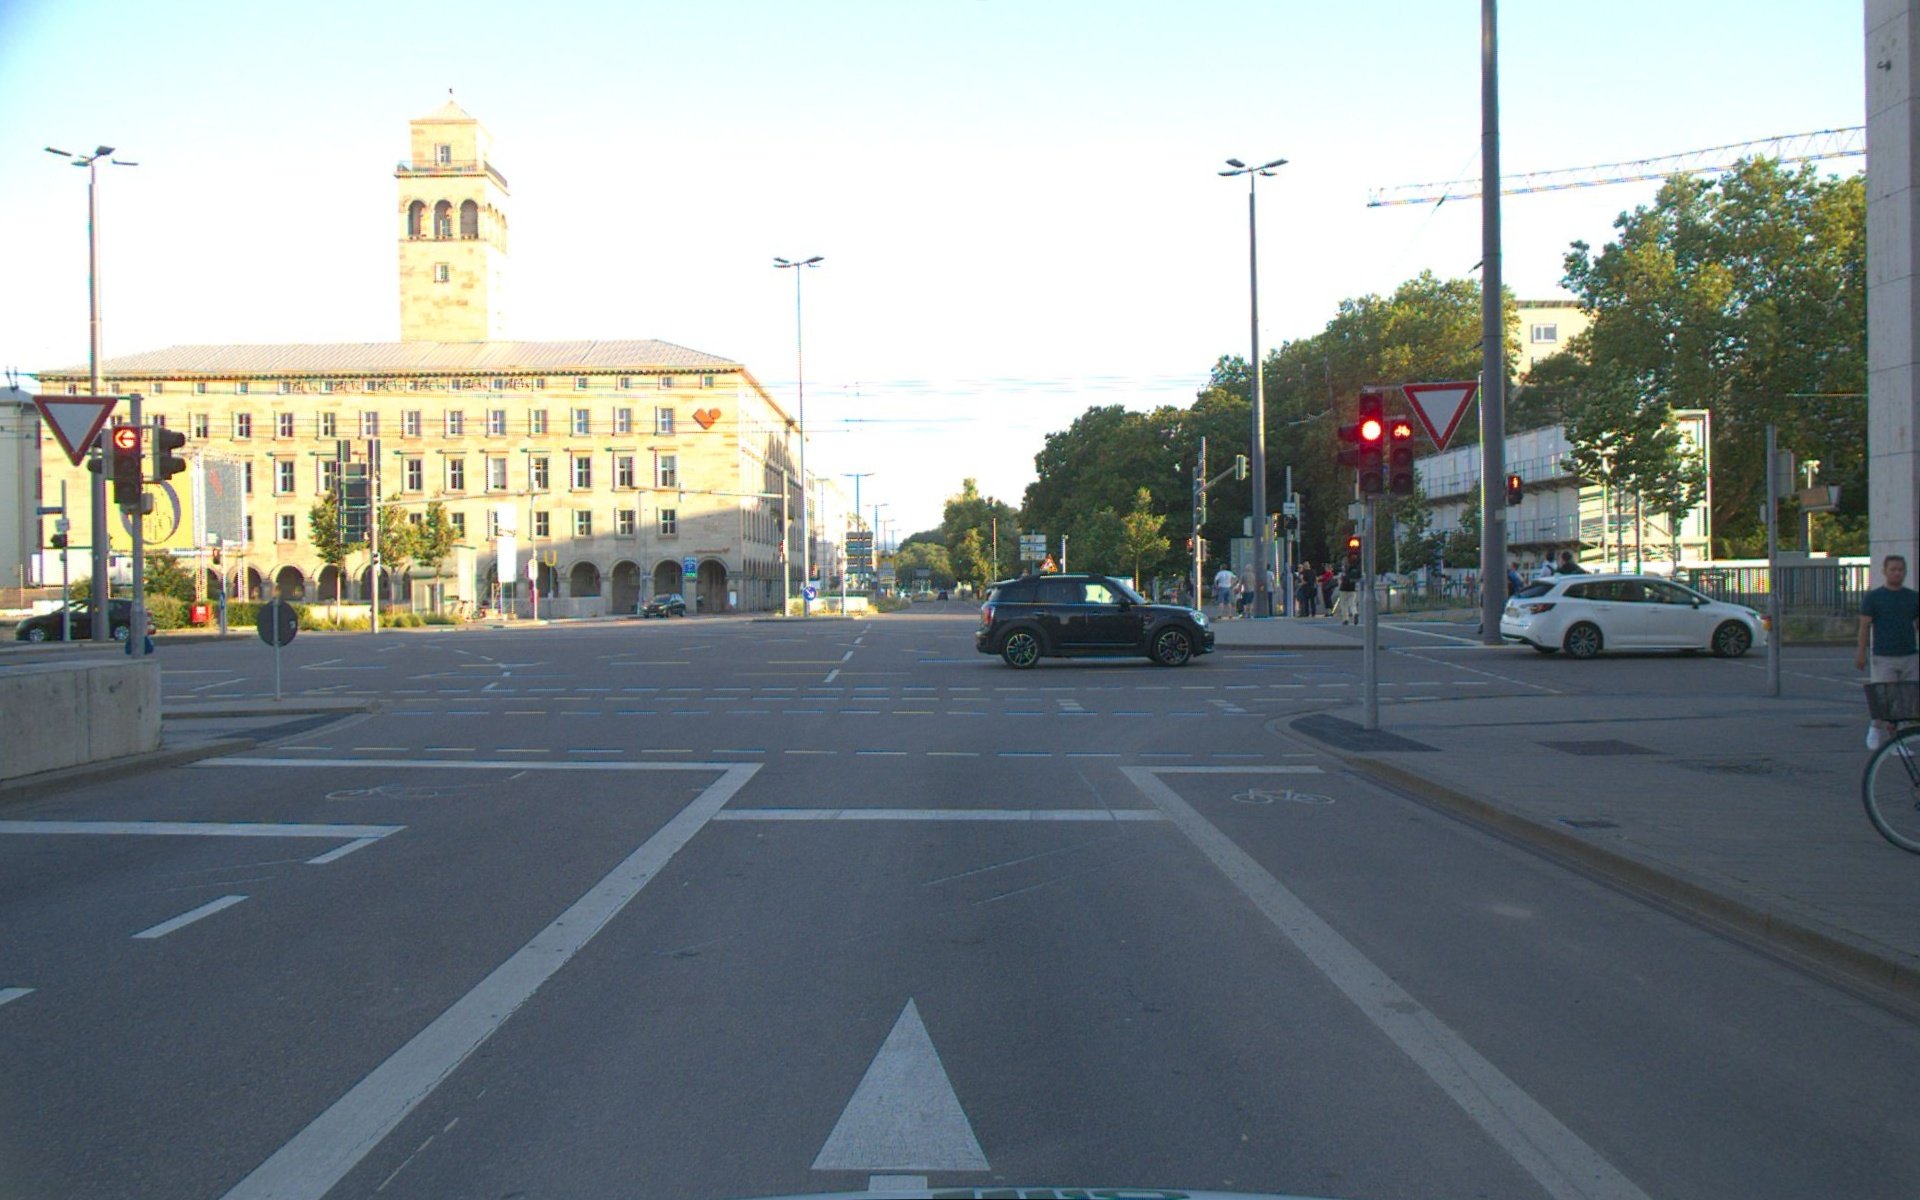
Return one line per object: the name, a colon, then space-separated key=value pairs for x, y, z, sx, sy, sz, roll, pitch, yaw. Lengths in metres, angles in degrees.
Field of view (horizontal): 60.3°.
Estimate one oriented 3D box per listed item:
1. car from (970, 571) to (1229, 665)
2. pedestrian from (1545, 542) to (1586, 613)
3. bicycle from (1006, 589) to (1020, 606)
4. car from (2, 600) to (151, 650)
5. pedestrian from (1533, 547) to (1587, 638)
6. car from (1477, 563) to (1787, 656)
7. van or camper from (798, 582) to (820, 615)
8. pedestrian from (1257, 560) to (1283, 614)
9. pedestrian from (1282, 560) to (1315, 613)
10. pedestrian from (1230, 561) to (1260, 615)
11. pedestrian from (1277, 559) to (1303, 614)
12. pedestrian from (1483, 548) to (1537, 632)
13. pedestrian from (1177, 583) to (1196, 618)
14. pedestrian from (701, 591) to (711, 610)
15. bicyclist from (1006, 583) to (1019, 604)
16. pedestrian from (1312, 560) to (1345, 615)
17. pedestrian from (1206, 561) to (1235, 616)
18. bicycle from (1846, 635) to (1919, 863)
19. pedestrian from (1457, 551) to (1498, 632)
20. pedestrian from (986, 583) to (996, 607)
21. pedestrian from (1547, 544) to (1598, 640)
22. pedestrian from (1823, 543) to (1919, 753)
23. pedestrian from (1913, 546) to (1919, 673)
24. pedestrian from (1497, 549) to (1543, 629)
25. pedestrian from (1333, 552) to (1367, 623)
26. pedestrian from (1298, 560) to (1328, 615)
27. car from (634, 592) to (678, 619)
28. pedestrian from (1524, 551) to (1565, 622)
car: x=2.401 y=0.285 z=29.391 sx=4.370 sy=1.522 sz=2.127 roll=-1 pitch=1 yaw=-2
pedestrian: x=15.137 y=-0.566 z=41.358 sx=0.672 sy=1.760 sz=0.838 roll=-1 pitch=0 yaw=-3
bicycle: x=3.146 y=-0.159 z=98.012 sx=0.639 sy=0.987 sz=1.483 roll=-1 pitch=1 yaw=-4
car: x=-28.466 y=0.791 z=53.402 sx=3.905 sy=1.478 sz=1.542 roll=-1 pitch=1 yaw=-11
pedestrian: x=12.679 y=-0.160 z=34.949 sx=0.874 sy=1.872 sz=0.688 roll=-1 pitch=0 yaw=1
car: x=11.994 y=0.155 z=29.741 sx=4.700 sy=1.522 sz=2.127 roll=-1 pitch=1 yaw=-2
van or camper: x=-13.437 y=-0.170 z=147.308 sx=1.847 sy=2.808 sz=4.925 roll=-1 pitch=1 yaw=-6
pedestrian: x=10.260 y=-0.440 z=54.712 sx=0.791 sy=1.760 sz=0.688 roll=-1 pitch=0 yaw=11
pedestrian: x=11.328 y=-0.446 z=55.368 sx=0.679 sy=1.760 sz=0.801 roll=-1 pitch=1 yaw=-34
pedestrian: x=9.274 y=-0.393 z=53.841 sx=0.792 sy=1.760 sz=0.687 roll=-1 pitch=0 yaw=-3
pedestrian: x=10.788 y=-0.444 z=54.110 sx=0.791 sy=1.760 sz=0.688 roll=-1 pitch=0 yaw=11
pedestrian: x=11.717 y=-0.218 z=35.247 sx=0.875 sy=1.760 sz=0.688 roll=-1 pitch=0 yaw=-2
pedestrian: x=11.630 y=0.015 z=84.868 sx=0.792 sy=1.760 sz=0.928 roll=-1 pitch=1 yaw=-3
pedestrian: x=-21.588 y=0.028 z=140.720 sx=0.757 sy=1.595 sz=0.635 roll=-1 pitch=0 yaw=-1
bicyclist: x=3.124 y=-0.399 z=97.990 sx=0.639 sy=1.245 sz=0.860 roll=-1 pitch=1 yaw=-5
pedestrian: x=12.125 y=-0.414 z=54.469 sx=0.677 sy=1.760 sz=0.804 roll=-1 pitch=1 yaw=-27
pedestrian: x=8.467 y=-0.385 z=53.803 sx=0.792 sy=1.760 sz=0.687 roll=-1 pitch=0 yaw=-3
bicycle: x=6.002 y=0.819 z=9.215 sx=1.779 sy=1.233 sz=0.571 roll=-1 pitch=0 yaw=15
pedestrian: x=11.520 y=-0.196 z=36.806 sx=0.671 sy=1.760 sz=0.896 roll=-1 pitch=0 yaw=5
pedestrian: x=1.824 y=-0.275 z=97.765 sx=0.512 sy=1.398 sz=0.687 roll=-1 pitch=1 yaw=-5
pedestrian: x=12.116 y=-0.162 z=32.720 sx=0.875 sy=1.862 sz=0.687 roll=-1 pitch=0 yaw=26
pedestrian: x=8.438 y=0.408 z=14.907 sx=0.843 sy=1.807 sz=0.741 roll=-3 pitch=1 yaw=0
pedestrian: x=9.233 y=0.384 z=14.931 sx=0.741 sy=1.807 sz=0.741 roll=-3 pitch=1 yaw=0
pedestrian: x=12.527 y=-0.257 z=37.015 sx=0.675 sy=1.760 sz=0.891 roll=-1 pitch=1 yaw=40
pedestrian: x=9.823 y=-0.309 z=41.682 sx=0.677 sy=1.760 sz=0.741 roll=-1 pitch=0 yaw=1
pedestrian: x=11.522 y=-0.414 z=53.966 sx=0.792 sy=1.760 sz=0.688 roll=-1 pitch=0 yaw=-2
car: x=-20.621 y=0.371 z=112.365 sx=1.951 sy=1.691 sz=4.002 roll=-1 pitch=1 yaw=4
pedestrian: x=14.864 y=-0.348 z=42.084 sx=0.672 sy=1.760 sz=0.837 roll=-1 pitch=0 yaw=-6
